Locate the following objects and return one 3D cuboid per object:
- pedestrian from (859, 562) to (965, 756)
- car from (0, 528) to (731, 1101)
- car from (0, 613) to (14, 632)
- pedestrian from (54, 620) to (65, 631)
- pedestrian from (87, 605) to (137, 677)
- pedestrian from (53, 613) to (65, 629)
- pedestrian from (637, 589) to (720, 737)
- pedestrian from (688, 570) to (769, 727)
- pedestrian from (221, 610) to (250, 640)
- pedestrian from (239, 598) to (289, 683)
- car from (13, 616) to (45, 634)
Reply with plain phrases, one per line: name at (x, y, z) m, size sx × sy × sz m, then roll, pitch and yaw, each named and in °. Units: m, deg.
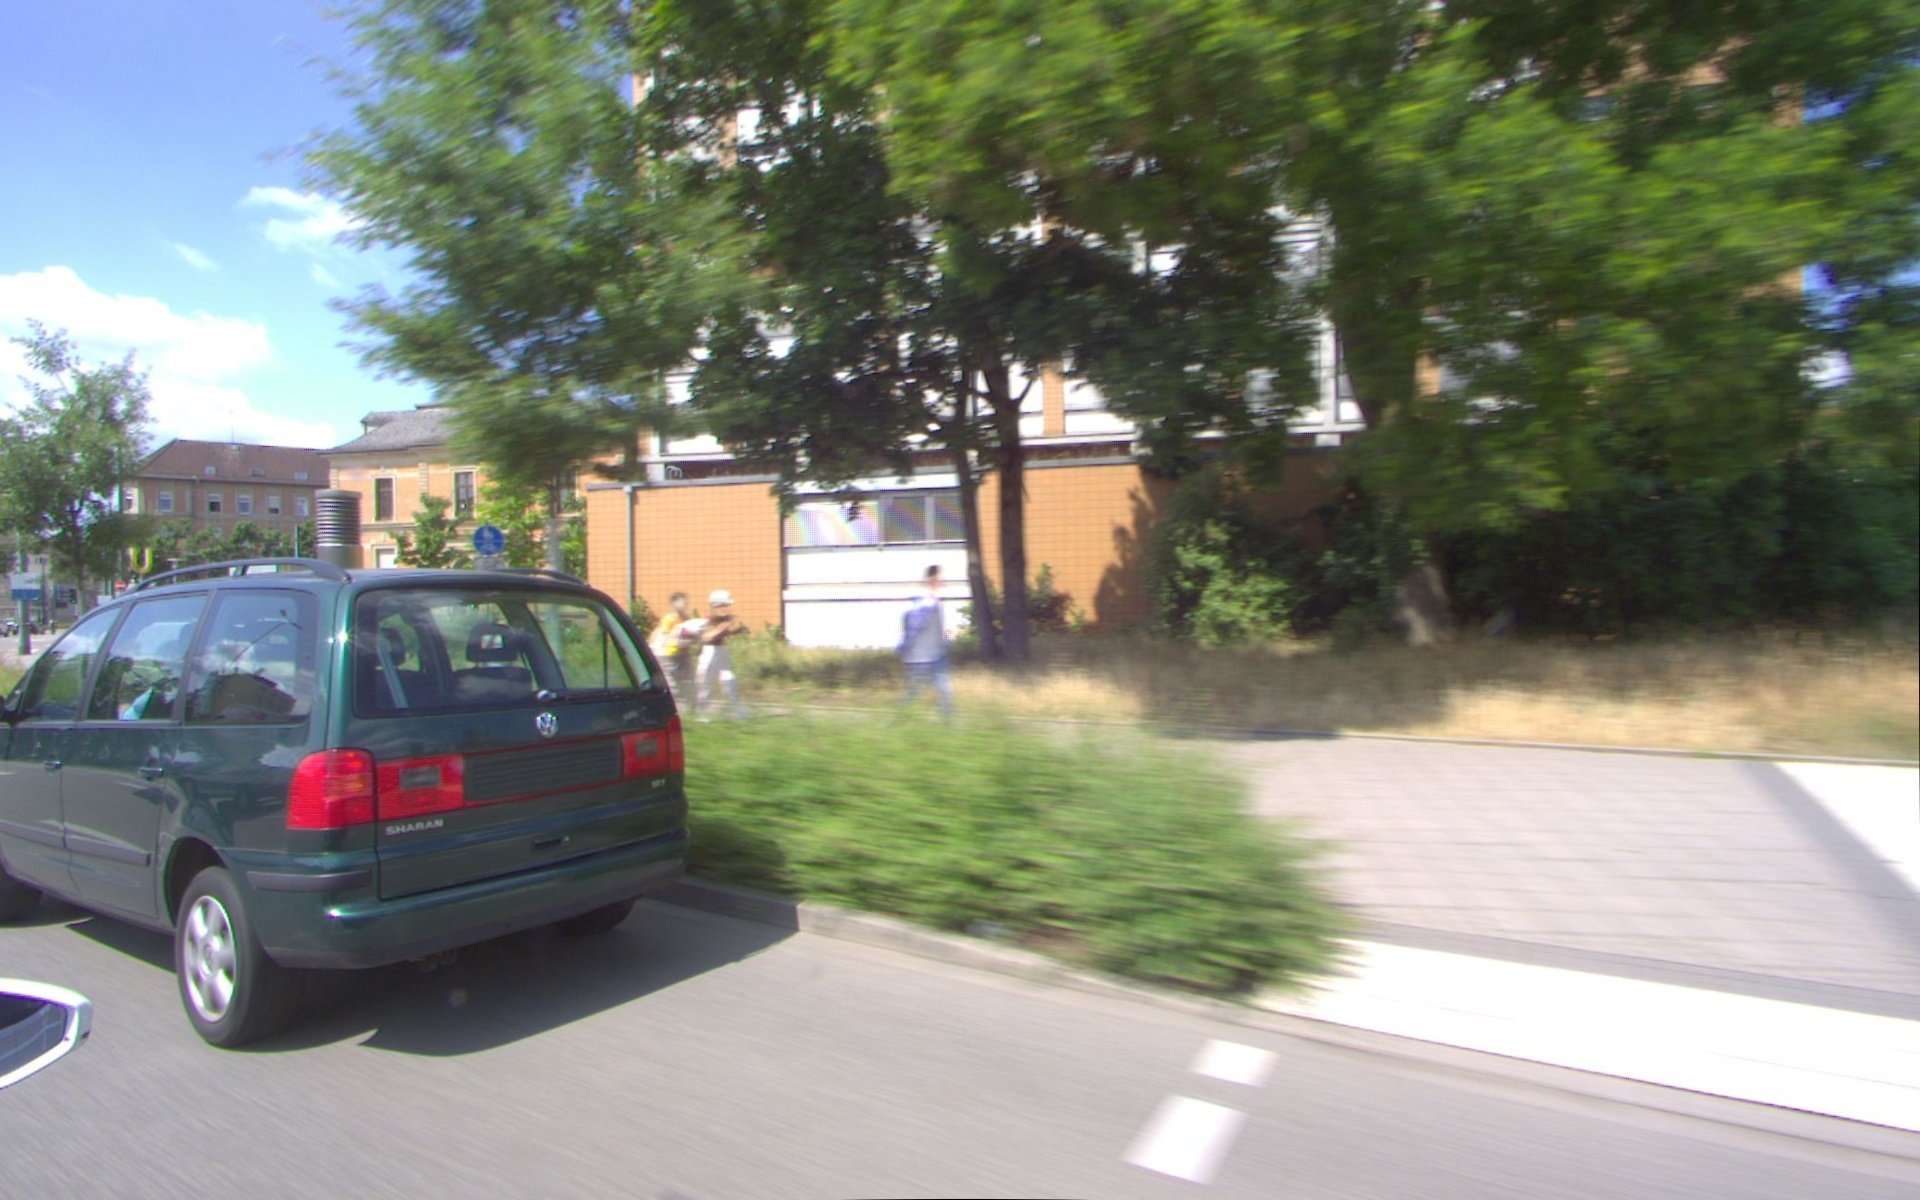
pedestrian at (-0.466, 0.561, 9.990) m, size 0.766 × 1.846 × 0.756 m, roll -1°, pitch 3°, yaw 19°
car at (-3.377, 0.728, 5.001) m, size 4.385 × 1.744 × 1.792 m, roll -1°, pitch -3°, yaw 32°
car at (-81.906, 1.900, 84.854) m, size 1.862 × 1.663 × 3.932 m, roll 0°, pitch 0°, yaw -33°
pedestrian at (-83.522, 2.359, 92.851) m, size 0.519 × 0.918 × 1.552 m, roll 0°, pitch -2°, yaw -34°
pedestrian at (-19.444, 0.940, 22.961) m, size 0.752 × 1.610 × 0.752 m, roll -2°, pitch -2°, yaw 40°
pedestrian at (-83.549, 1.957, 92.865) m, size 0.685 × 1.476 × 0.676 m, roll 0°, pitch -2°, yaw -34°
pedestrian at (-3.258, 0.724, 11.595) m, size 0.716 × 1.646 × 0.587 m, roll -1°, pitch -1°, yaw 25°
pedestrian at (-2.825, 0.589, 12.277) m, size 0.628 × 1.844 × 0.756 m, roll -1°, pitch -1°, yaw 25°
pedestrian at (-42.267, 1.432, 58.423) m, size 0.847 × 1.679 × 0.966 m, roll -3°, pitch 1°, yaw 8°
pedestrian at (-15.491, 0.894, 22.290) m, size 0.666 × 1.844 × 0.753 m, roll -2°, pitch -2°, yaw 38°
car at (-89.056, 2.402, 95.833) m, size 1.865 × 1.663 × 3.927 m, roll 0°, pitch 0°, yaw -37°
